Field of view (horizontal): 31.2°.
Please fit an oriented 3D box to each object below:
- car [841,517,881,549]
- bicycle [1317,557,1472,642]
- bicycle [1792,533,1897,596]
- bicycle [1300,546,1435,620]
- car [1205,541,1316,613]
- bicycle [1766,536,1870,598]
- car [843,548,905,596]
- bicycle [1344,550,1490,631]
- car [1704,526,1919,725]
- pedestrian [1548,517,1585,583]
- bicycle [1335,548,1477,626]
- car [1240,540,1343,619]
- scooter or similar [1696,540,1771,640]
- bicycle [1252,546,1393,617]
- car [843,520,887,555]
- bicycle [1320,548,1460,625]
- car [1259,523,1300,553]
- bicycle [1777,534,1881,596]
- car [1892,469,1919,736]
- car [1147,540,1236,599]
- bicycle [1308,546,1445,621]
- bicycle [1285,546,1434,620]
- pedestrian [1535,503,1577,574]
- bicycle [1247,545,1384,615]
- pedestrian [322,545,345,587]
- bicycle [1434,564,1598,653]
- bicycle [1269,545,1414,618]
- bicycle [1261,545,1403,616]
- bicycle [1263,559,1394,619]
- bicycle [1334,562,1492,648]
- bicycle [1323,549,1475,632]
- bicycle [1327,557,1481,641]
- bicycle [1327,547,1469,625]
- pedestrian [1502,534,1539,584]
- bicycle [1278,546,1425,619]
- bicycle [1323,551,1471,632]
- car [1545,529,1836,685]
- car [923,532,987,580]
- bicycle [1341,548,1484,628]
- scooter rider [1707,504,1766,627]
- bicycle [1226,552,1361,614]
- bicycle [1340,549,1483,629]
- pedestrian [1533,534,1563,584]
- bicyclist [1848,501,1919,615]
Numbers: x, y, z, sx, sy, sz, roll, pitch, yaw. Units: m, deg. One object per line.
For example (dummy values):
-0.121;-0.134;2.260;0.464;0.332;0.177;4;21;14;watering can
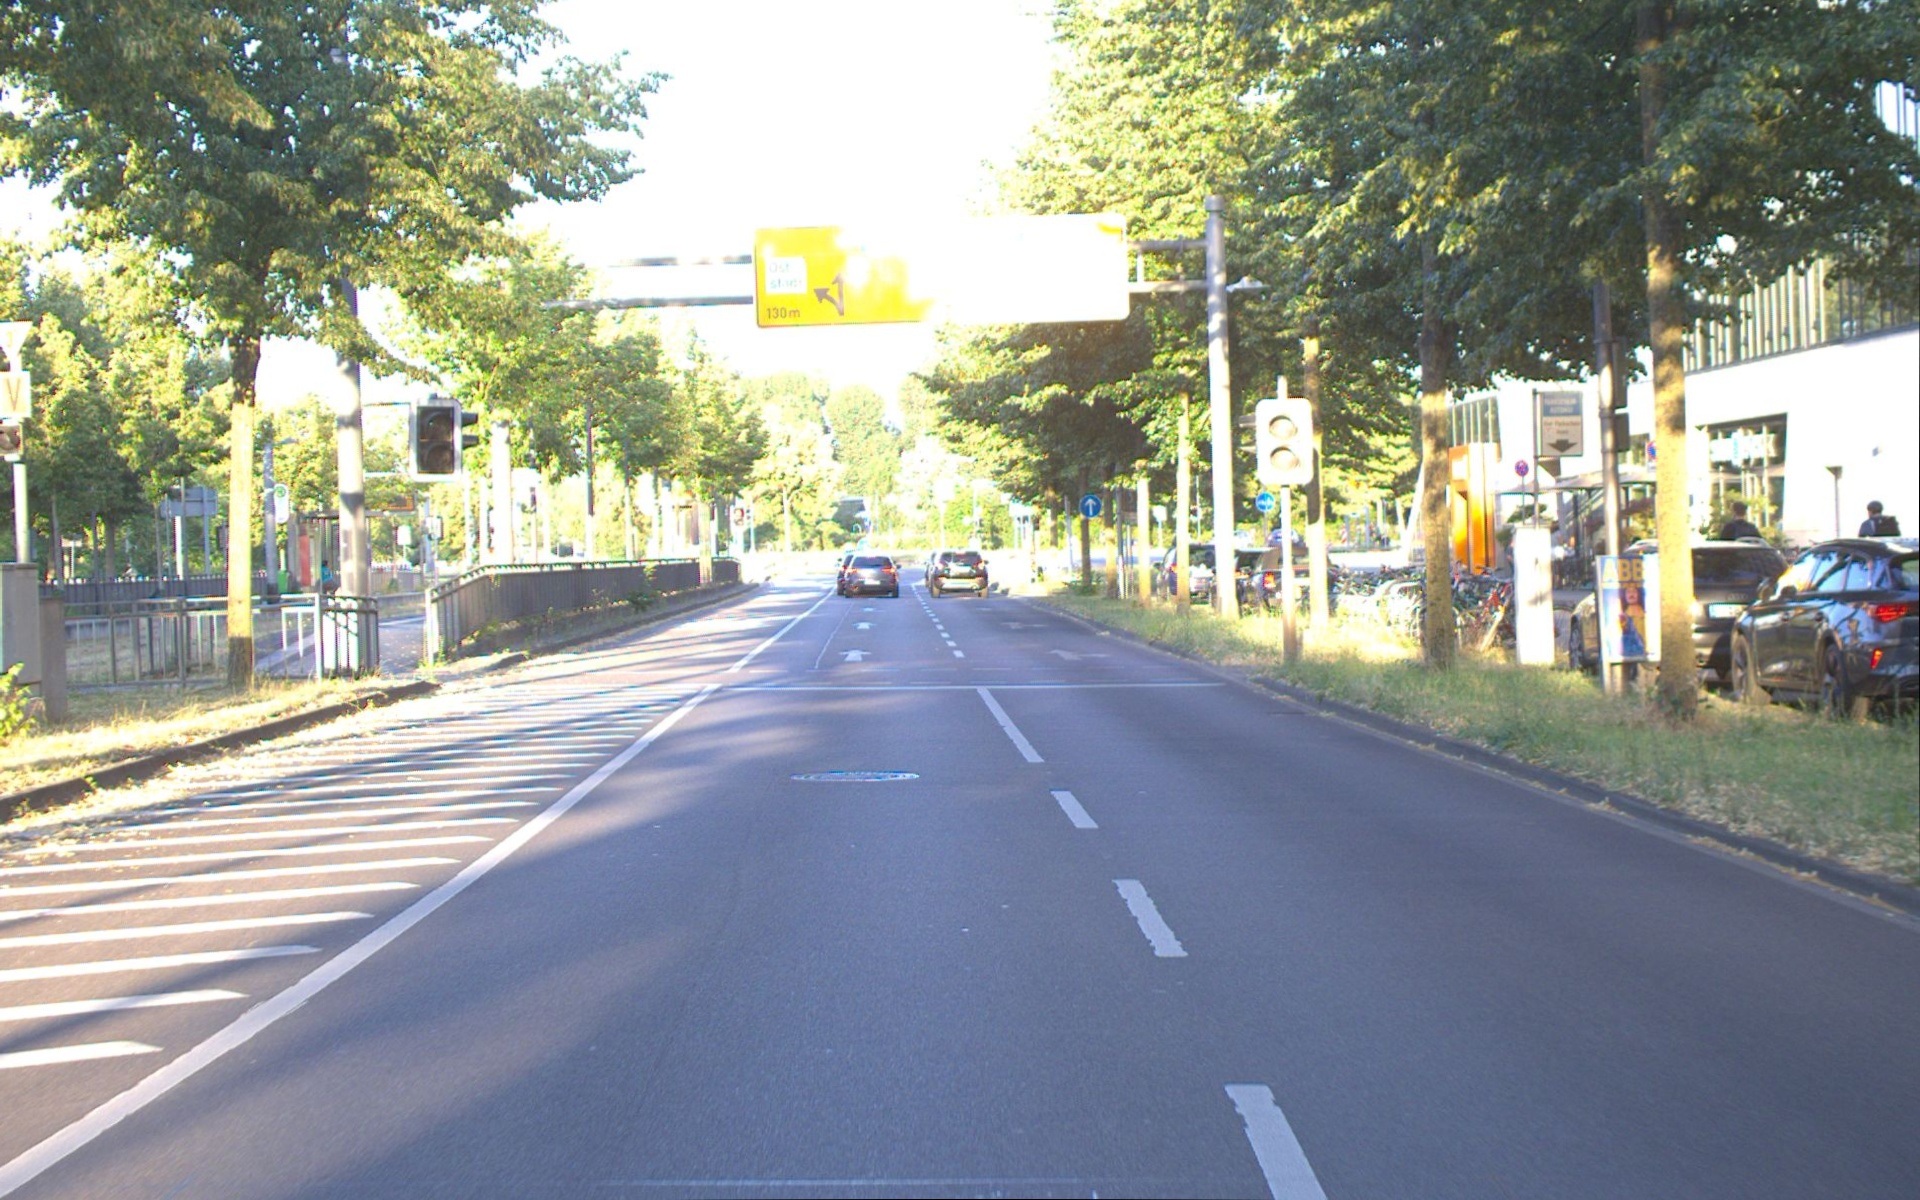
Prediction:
-4.913;-3.294;169.708;1.911;1.481;4.000;-1;1;-2;car
5.731;-0.009;45.354;1.941;1.050;0.545;2;1;-16;bicycle
16.168;-0.649;62.852;1.784;1.100;0.509;-1;1;-6;bicycle
6.126;-0.255;51.695;1.941;1.050;0.404;2;1;-7;bicycle
6.450;-0.510;74.271;1.777;1.467;4.289;-1;1;-3;car
16.010;-0.618;64.140;1.784;1.100;0.509;-1;1;-6;bicycle
-2.810;-0.910;111.663;1.911;1.481;4.000;-1;1;-2;car
6.344;-0.133;47.734;1.941;1.050;0.409;2;1;-8;bicycle
7.628;0.141;28.111;1.809;1.466;4.666;-2;1;-3;car
15.856;-1.299;89.884;0.634;1.712;0.699;-2;1;-21;pedestrian
6.352;-0.186;48.974;1.941;1.050;0.414;2;1;-8;bicycle
6.455;-0.425;67.328;1.575;1.467;3.881;-1;1;-1;car
10.443;-0.147;46.453;0.525;1.306;1.664;-1;1;-3;scooter or similar
5.790;-0.304;54.932;2.142;1.050;0.525;2;1;-7;bicycle
-4.247;-2.783;153.086;1.911;1.481;4.000;-1;1;-2;car
6.267;-0.193;50.083;1.941;1.050;0.414;2;1;-8;bicycle
18.930;-3.682;203.799;1.994;1.722;3.998;-1;1;11;car
16.041;-0.645;63.469;1.784;1.100;0.509;-1;1;-6;bicycle
7.716;0.021;21.963;1.993;1.845;4.666;-2;1;-3;car
6.011;-0.817;89.483;1.756;1.461;4.159;-1;1;-3;car
6.205;-0.247;51.256;1.941;1.050;0.404;2;1;-7;bicycle
6.073;-0.261;52.336;2.142;1.050;0.571;2;1;-7;bicycle
14.800;-1.530;85.345;0.703;1.731;0.689;-2;1;-31;pedestrian
5.729;-0.316;55.380;2.142;1.050;0.300;2;1;-7;bicycle
-19.961;-1.081;109.484;0.614;1.315;0.745;-1;1;-4;pedestrian
7.046;0.107;43.596;1.941;1.050;0.545;2;1;-1;bicycle
5.965;-0.293;53.784;2.142;1.050;0.571;2;1;-7;bicycle
5.882;-0.307;54.367;2.142;1.050;0.525;2;1;-7;bicycle
6.291;-0.186;58.725;2.142;0.936;0.443;2;1;-7;bicycle
5.904;0.068;44.786;1.941;1.050;0.545;2;1;-16;bicycle
5.963;-0.126;46.725;1.941;1.050;0.545;2;1;-8;bicycle
5.955;-0.010;46.097;1.941;1.050;0.545;2;1;-12;bicycle
6.306;-0.203;49.511;1.941;1.050;0.414;2;1;-8;bicycle
14.566;-1.067;89.361;0.625;1.278;0.717;-2;1;-23;pedestrian
6.042;-0.275;53.092;2.142;1.050;0.562;2;1;-7;bicycle
6.010;-0.119;47.248;1.941;1.050;0.409;2;1;-8;bicycle
7.226;0.032;34.472;1.869;1.406;4.646;-2;1;0;car
-0.177;-1.414;109.850;1.911;1.481;4.000;-1;1;-2;car
6.381;-0.166;48.513;1.941;1.050;0.348;2;1;-8;bicycle
10.463;-0.468;46.332;0.525;1.633;0.832;-1;1;-3;scooter rider
5.493;-0.286;56.685;2.142;0.936;0.443;2;1;-7;bicycle
6.322;-0.154;48.138;1.941;1.050;0.314;2;1;-8;bicycle
15.230;-1.056;89.017;0.579;1.278;0.739;-1;1;-5;pedestrian
12.899;-0.588;47.801;0.772;1.561;0.992;-2;1;-3;bicyclist
